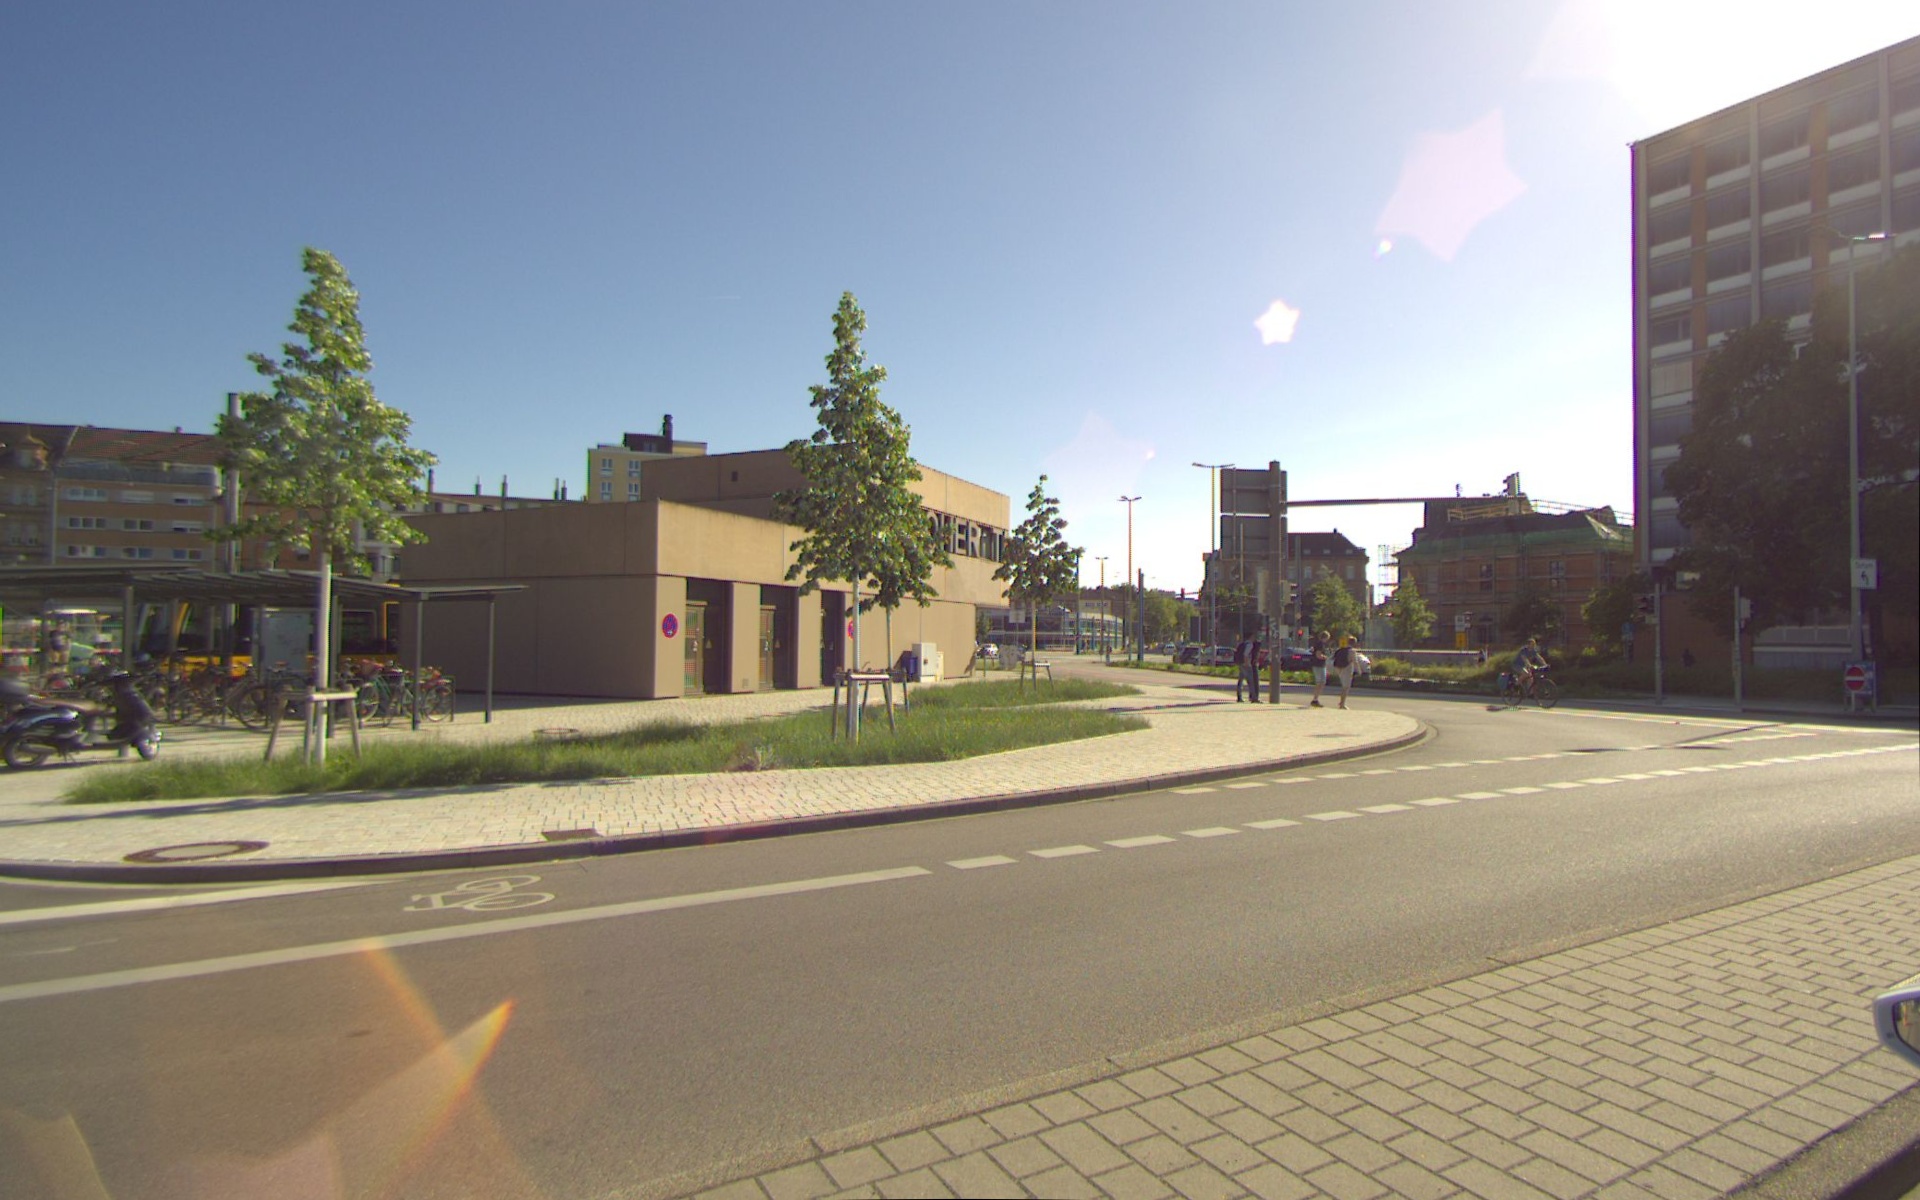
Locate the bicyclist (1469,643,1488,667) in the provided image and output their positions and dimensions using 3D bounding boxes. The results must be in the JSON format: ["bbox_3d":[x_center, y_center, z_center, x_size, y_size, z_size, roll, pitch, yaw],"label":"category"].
[{"bbox_3d":[32.396,3.425,62.764,0.587,1.448,0.939,1,-2,-6],"label":"bicyclist"}]

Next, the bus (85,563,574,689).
[{"bbox_3d":[-18.381,0.881,31.467,2.810,3.112,13.620,0,-2,25],"label":"bus"}]

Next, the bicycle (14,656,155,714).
[{"bbox_3d":[-17.773,1.702,20.449,0.524,1.051,2.070,5,0,26],"label":"bicycle"}]

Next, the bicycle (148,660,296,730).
[{"bbox_3d":[-12.900,1.635,17.649,0.524,1.051,2.070,2,0,26],"label":"bicycle"}]

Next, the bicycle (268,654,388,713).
[{"bbox_3d":[-12.744,1.653,20.321,0.524,1.051,2.070,2,0,26],"label":"bicycle"}]

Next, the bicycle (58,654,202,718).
[{"bbox_3d":[-15.904,1.629,19.313,0.524,1.051,2.070,5,1,26],"label":"bicycle"}]

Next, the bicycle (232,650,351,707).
[{"bbox_3d":[-13.919,1.620,20.985,0.524,1.051,2.070,2,0,26],"label":"bicycle"}]

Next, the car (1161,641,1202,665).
[{"bbox_3d":[16.519,3.945,75.117,1.809,1.653,4.386,1,-2,-4],"label":"car"}]

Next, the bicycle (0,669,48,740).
[{"bbox_3d":[-14.202,1.530,14.368,0.399,0.985,1.683,2,0,22],"label":"bicycle"}]

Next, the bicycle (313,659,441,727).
[{"bbox_3d":[-10.799,1.688,18.692,0.594,1.093,2.053,2,0,25],"label":"bicycle"}]

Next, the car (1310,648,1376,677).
[{"bbox_3d":[21.276,3.447,55.904,1.711,1.454,3.843,1,-2,-10],"label":"car"}]

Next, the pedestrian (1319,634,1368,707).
[{"bbox_3d":[9.223,1.694,24.187,0.776,1.711,0.792,3,-5,-18],"label":"pedestrian"}]

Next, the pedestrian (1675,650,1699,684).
[{"bbox_3d":[35.157,3.253,48.569,0.587,1.624,0.739,1,-2,-7],"label":"pedestrian"}]

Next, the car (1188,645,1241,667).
[{"bbox_3d":[17.266,3.770,68.318,1.810,1.406,4.895,1,-2,-8],"label":"car"}]

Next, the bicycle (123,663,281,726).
[{"bbox_3d":[-13.710,1.683,18.254,0.673,0.956,2.233,2,0,25],"label":"bicycle"}]

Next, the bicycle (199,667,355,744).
[{"bbox_3d":[-10.905,1.655,16.126,0.524,1.051,2.070,2,0,26],"label":"bicycle"}]

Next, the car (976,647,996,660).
[{"bbox_3d":[3.223,6.498,123.060,1.757,1.540,4.003,0,-2,11],"label":"car"}]

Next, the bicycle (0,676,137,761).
[{"bbox_3d":[-12.204,1.578,13.571,0.399,0.985,1.683,2,0,22],"label":"bicycle"}]

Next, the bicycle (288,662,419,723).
[{"bbox_3d":[-11.764,1.772,19.565,0.679,1.011,2.140,2,0,26],"label":"bicycle"}]

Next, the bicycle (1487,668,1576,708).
[{"bbox_3d":[13.892,2.126,24.490,0.675,0.930,1.986,1,-4,-14],"label":"bicycle"}]

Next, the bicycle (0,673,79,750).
[{"bbox_3d":[-13.231,1.548,13.805,0.399,0.985,1.683,2,0,22],"label":"bicycle"}]

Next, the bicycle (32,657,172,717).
[{"bbox_3d":[-16.885,1.682,19.841,0.524,1.051,2.070,-2,-2,26],"label":"bicycle"}]

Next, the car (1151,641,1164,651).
[{"bbox_3d":[33.014,7.730,167.798,1.807,1.653,4.390,0,-2,6],"label":"car"}]

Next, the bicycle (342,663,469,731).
[{"bbox_3d":[-9.969,1.726,18.154,0.524,1.051,2.070,2,0,26],"label":"bicycle"}]

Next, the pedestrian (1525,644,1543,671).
[{"bbox_3d":[33.813,3.396,59.184,0.549,1.592,0.862,1,-2,-7],"label":"pedestrian"}]

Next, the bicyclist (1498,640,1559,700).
[{"bbox_3d":[13.847,1.704,24.503,0.676,1.440,1.125,1,-4,-15],"label":"bicyclist"}]

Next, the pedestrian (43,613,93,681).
[{"bbox_3d":[-26.125,1.365,29.429,0.755,1.942,0.803,0,-2,23],"label":"pedestrian"}]

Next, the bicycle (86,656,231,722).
[{"bbox_3d":[-15.018,1.646,18.898,0.524,1.051,2.070,5,1,26],"label":"bicycle"}]

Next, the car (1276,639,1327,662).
[{"bbox_3d":[25.753,3.780,75.975,1.809,1.653,4.836,1,-2,-6],"label":"car"}]

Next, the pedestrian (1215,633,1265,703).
[{"bbox_3d":[7.110,1.738,25.484,0.831,1.711,0.896,5,-5,-34],"label":"pedestrian"}]

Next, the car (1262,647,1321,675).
[{"bbox_3d":[20.700,3.790,62.891,1.810,1.653,4.382,1,-2,-8],"label":"car"}]

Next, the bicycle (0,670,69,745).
[{"bbox_3d":[-13.697,1.536,14.167,0.399,0.985,1.683,2,0,22],"label":"bicycle"}]

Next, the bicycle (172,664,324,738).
[{"bbox_3d":[-11.932,1.660,16.921,0.524,1.051,2.070,2,0,26],"label":"bicycle"}]

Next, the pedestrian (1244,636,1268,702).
[{"bbox_3d":[7.966,1.854,27.040,0.585,1.751,0.580,0,-2,14],"label":"pedestrian"}]

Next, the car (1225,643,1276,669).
[{"bbox_3d":[20.037,3.846,69.426,1.810,1.653,4.382,1,-2,-8],"label":"car"}]

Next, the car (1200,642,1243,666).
[{"bbox_3d":[19.616,4.041,75.498,1.809,1.653,4.386,1,-2,-4],"label":"car"}]

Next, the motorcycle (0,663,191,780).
[{"bbox_3d":[-10.850,1.452,12.469,0.558,1.235,2.087,0,-1,21],"label":"motorcycle"}]

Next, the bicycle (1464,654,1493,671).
[{"bbox_3d":[32.386,3.903,62.754,0.587,0.976,2.081,1,-2,-5],"label":"bicycle"}]

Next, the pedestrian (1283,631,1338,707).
[{"bbox_3d":[8.675,1.723,24.882,1.085,1.822,0.703,2,-5,-16],"label":"pedestrian"}]
